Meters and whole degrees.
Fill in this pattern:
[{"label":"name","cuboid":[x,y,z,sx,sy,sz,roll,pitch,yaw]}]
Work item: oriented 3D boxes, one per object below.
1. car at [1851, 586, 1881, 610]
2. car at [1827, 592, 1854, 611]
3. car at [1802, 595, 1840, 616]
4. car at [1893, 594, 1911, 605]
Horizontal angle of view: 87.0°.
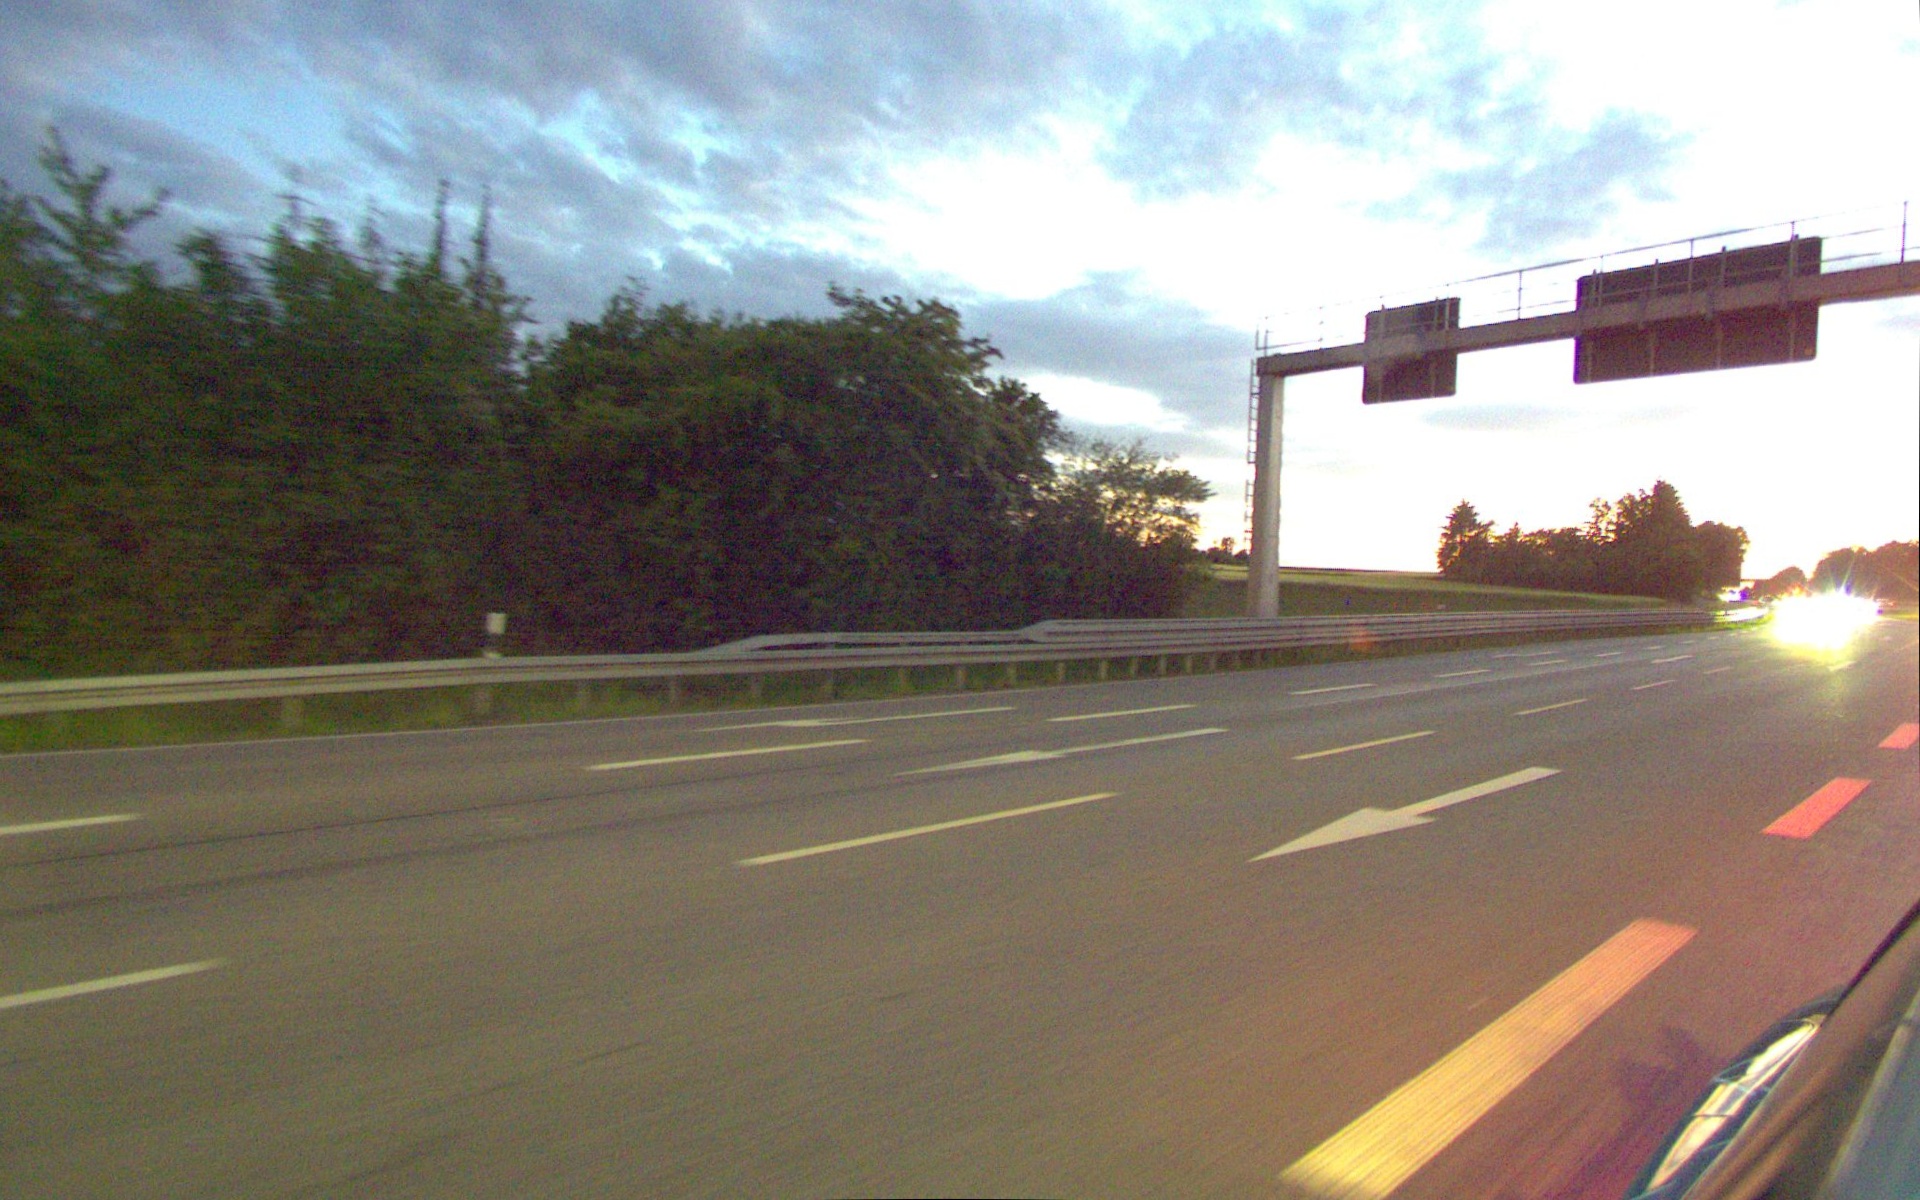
[{"label":"car","cuboid":[79.428,-0.149,88.715,1.857,2.039,3.937,-1,0,44]},{"label":"car","cuboid":[86.992,0.139,100.040,1.825,1.772,3.796,-1,-1,39]},{"label":"car","cuboid":[66.014,0.390,77.558,1.993,1.604,3.937,0,0,44]},{"label":"car","cuboid":[141.352,-0.072,151.879,1.698,1.643,4.247,1,1,38]}]
